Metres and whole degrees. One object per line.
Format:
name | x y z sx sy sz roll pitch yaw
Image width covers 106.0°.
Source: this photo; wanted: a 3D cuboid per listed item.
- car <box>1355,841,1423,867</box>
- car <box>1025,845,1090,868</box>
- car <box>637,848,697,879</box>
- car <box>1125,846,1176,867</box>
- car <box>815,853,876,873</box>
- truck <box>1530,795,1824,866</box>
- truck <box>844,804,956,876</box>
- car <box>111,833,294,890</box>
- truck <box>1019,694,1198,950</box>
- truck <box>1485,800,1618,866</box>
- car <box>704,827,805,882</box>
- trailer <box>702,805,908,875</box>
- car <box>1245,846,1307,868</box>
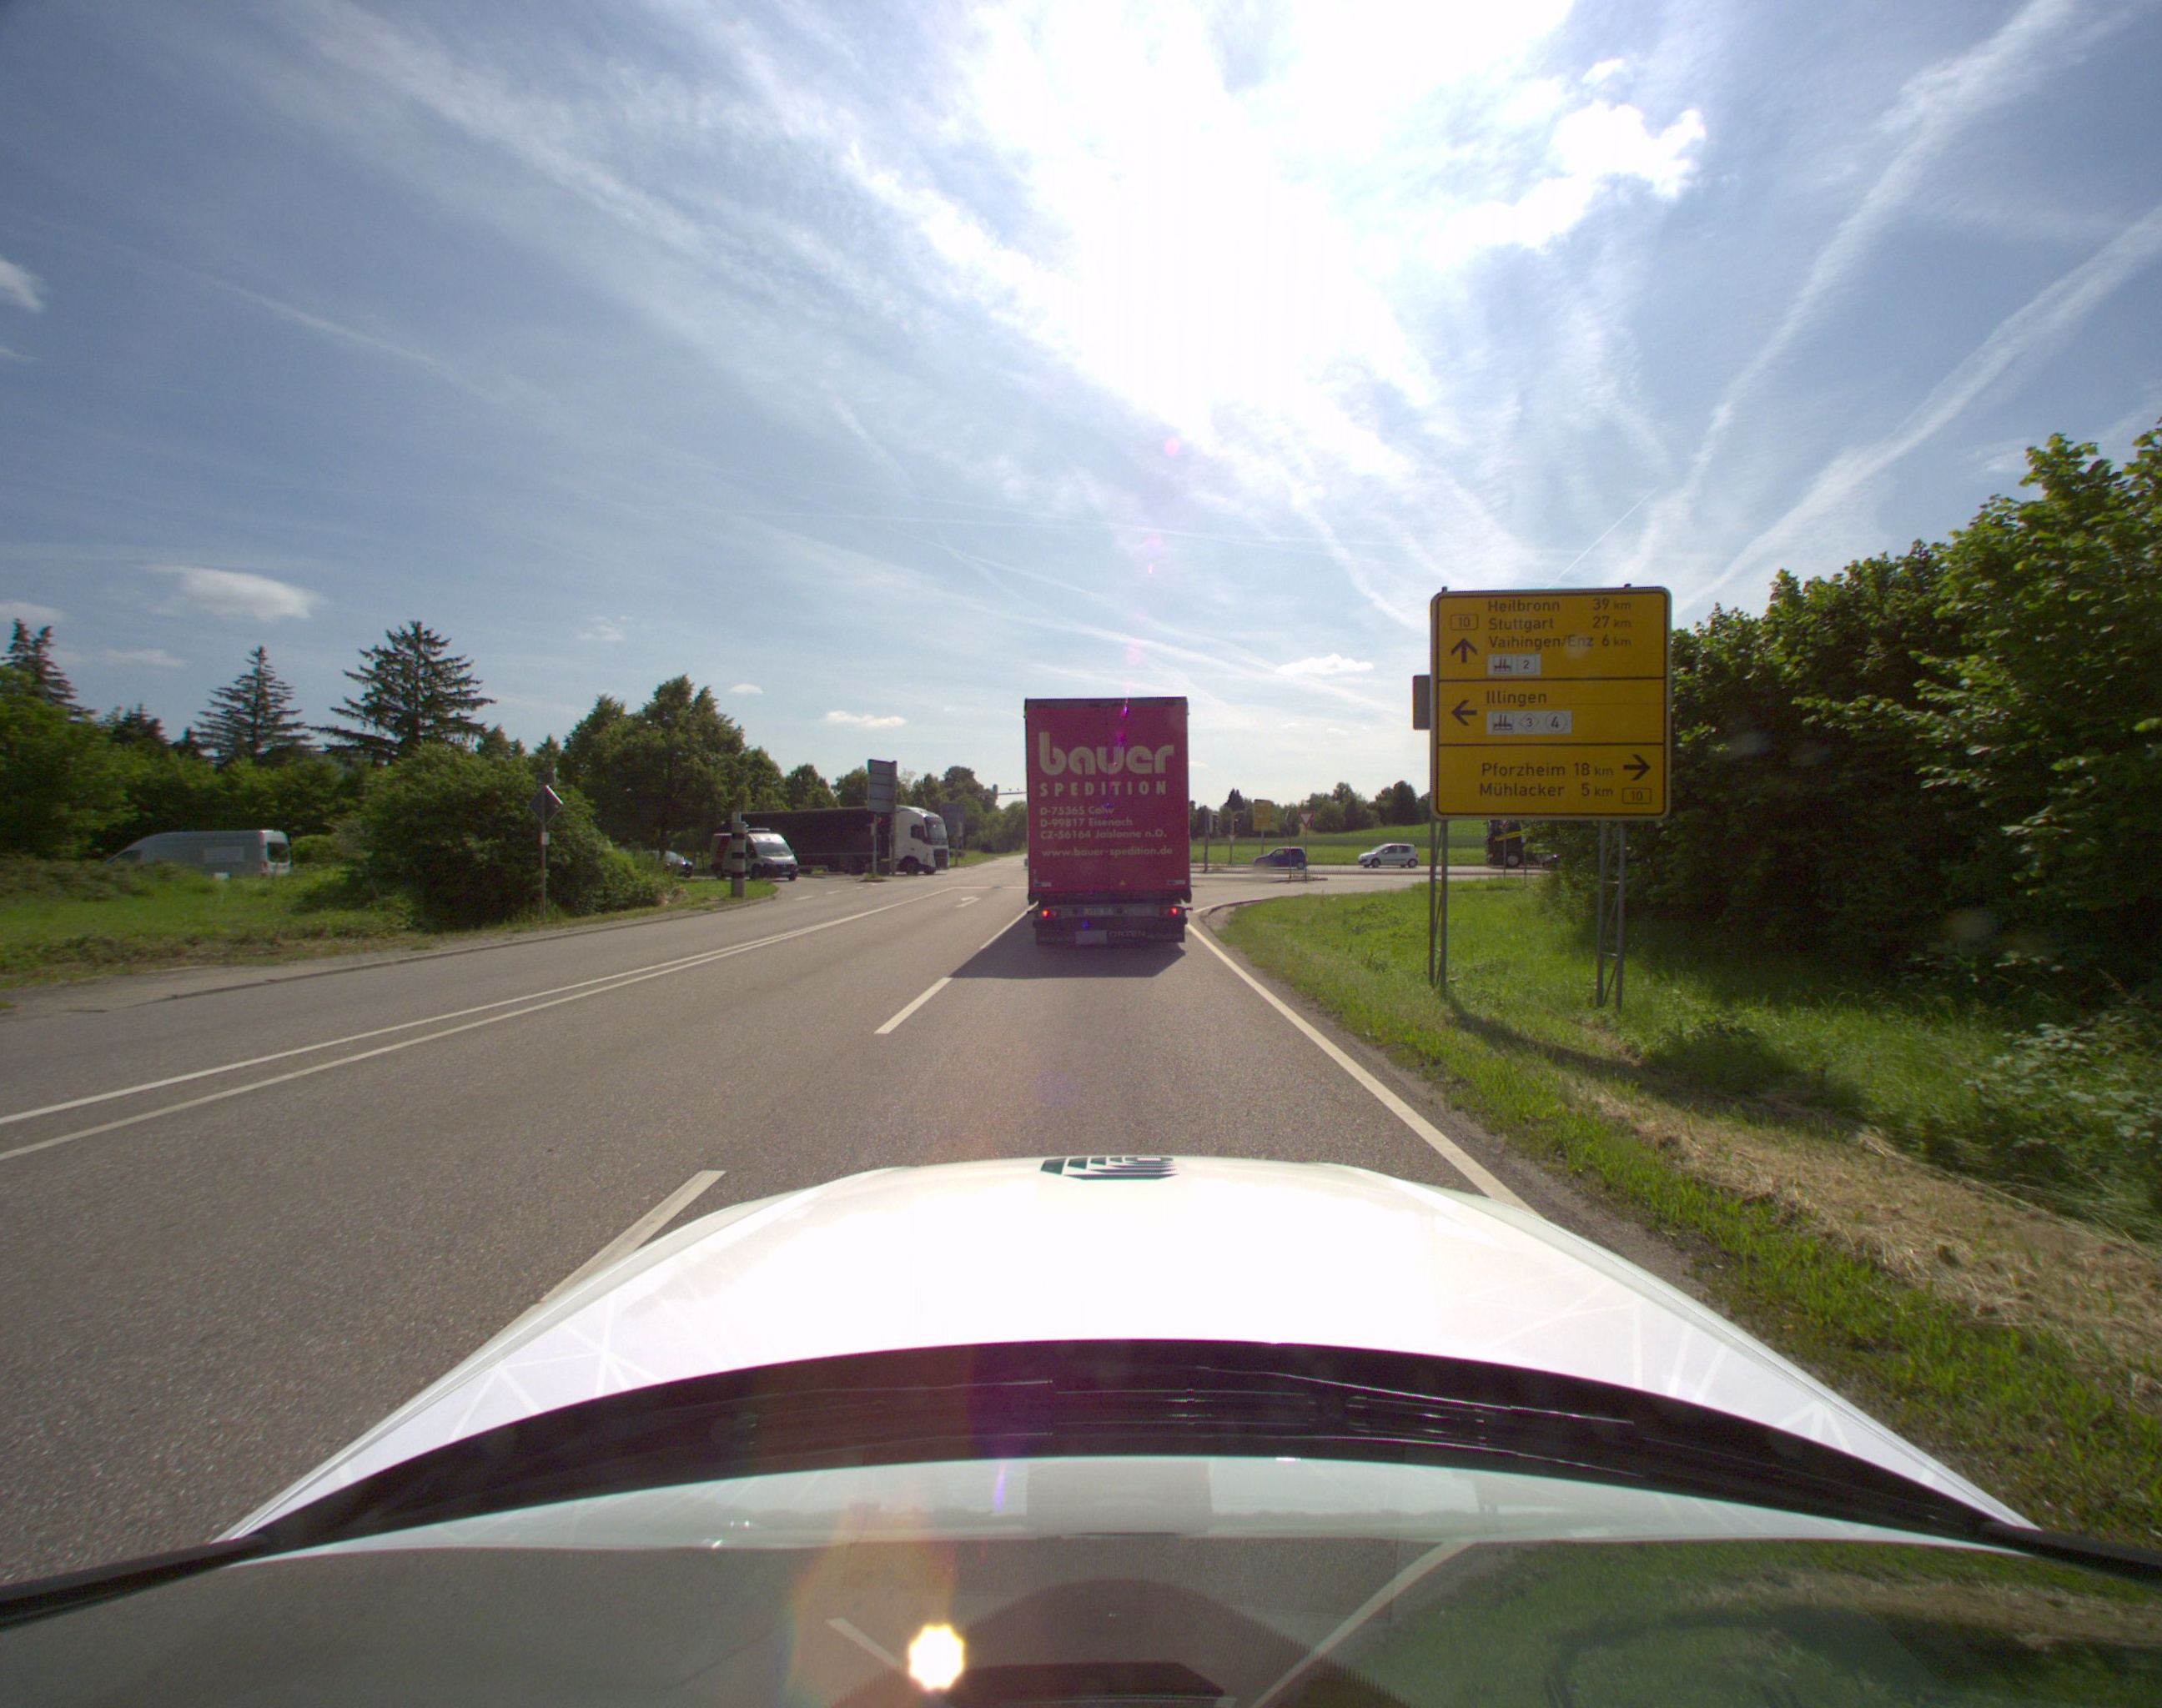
car | 20.232 -0.011 53.561 3.815 1.633 1.760 -1 -1 -1
car | -1.610 0.167 56.429 4.070 1.547 1.880 -1 -1 14
car | -24.966 0.575 49.098 4.058 1.750 1.884 -1 -1 42
car | 5.777 0.218 68.014 1.709 1.656 4.237 0 -1 -41
car | -17.825 0.686 61.743 3.955 1.429 2.009 0 -1 17
truck | 35.499 -1.325 49.452 14.160 3.979 3.043 0 1 21
truck | -10.637 -0.830 47.984 5.778 4.061 2.812 0 1 18
car | -35.488 0.288 33.081 4.601 2.180 1.986 0 0 -22
truck | 0.701 -0.560 20.895 2.724 3.925 16.633 -1 0 2
truck | 29.639 -1.296 51.664 6.871 3.993 3.043 0 1 21
car | -16.962 0.027 42.180 5.908 2.654 2.138 -1 1 38
trailer | -17.299 -0.833 50.587 13.564 4.061 2.814 0 1 22
car | 12.546 0.196 52.442 3.819 1.357 1.683 -1 0 15
